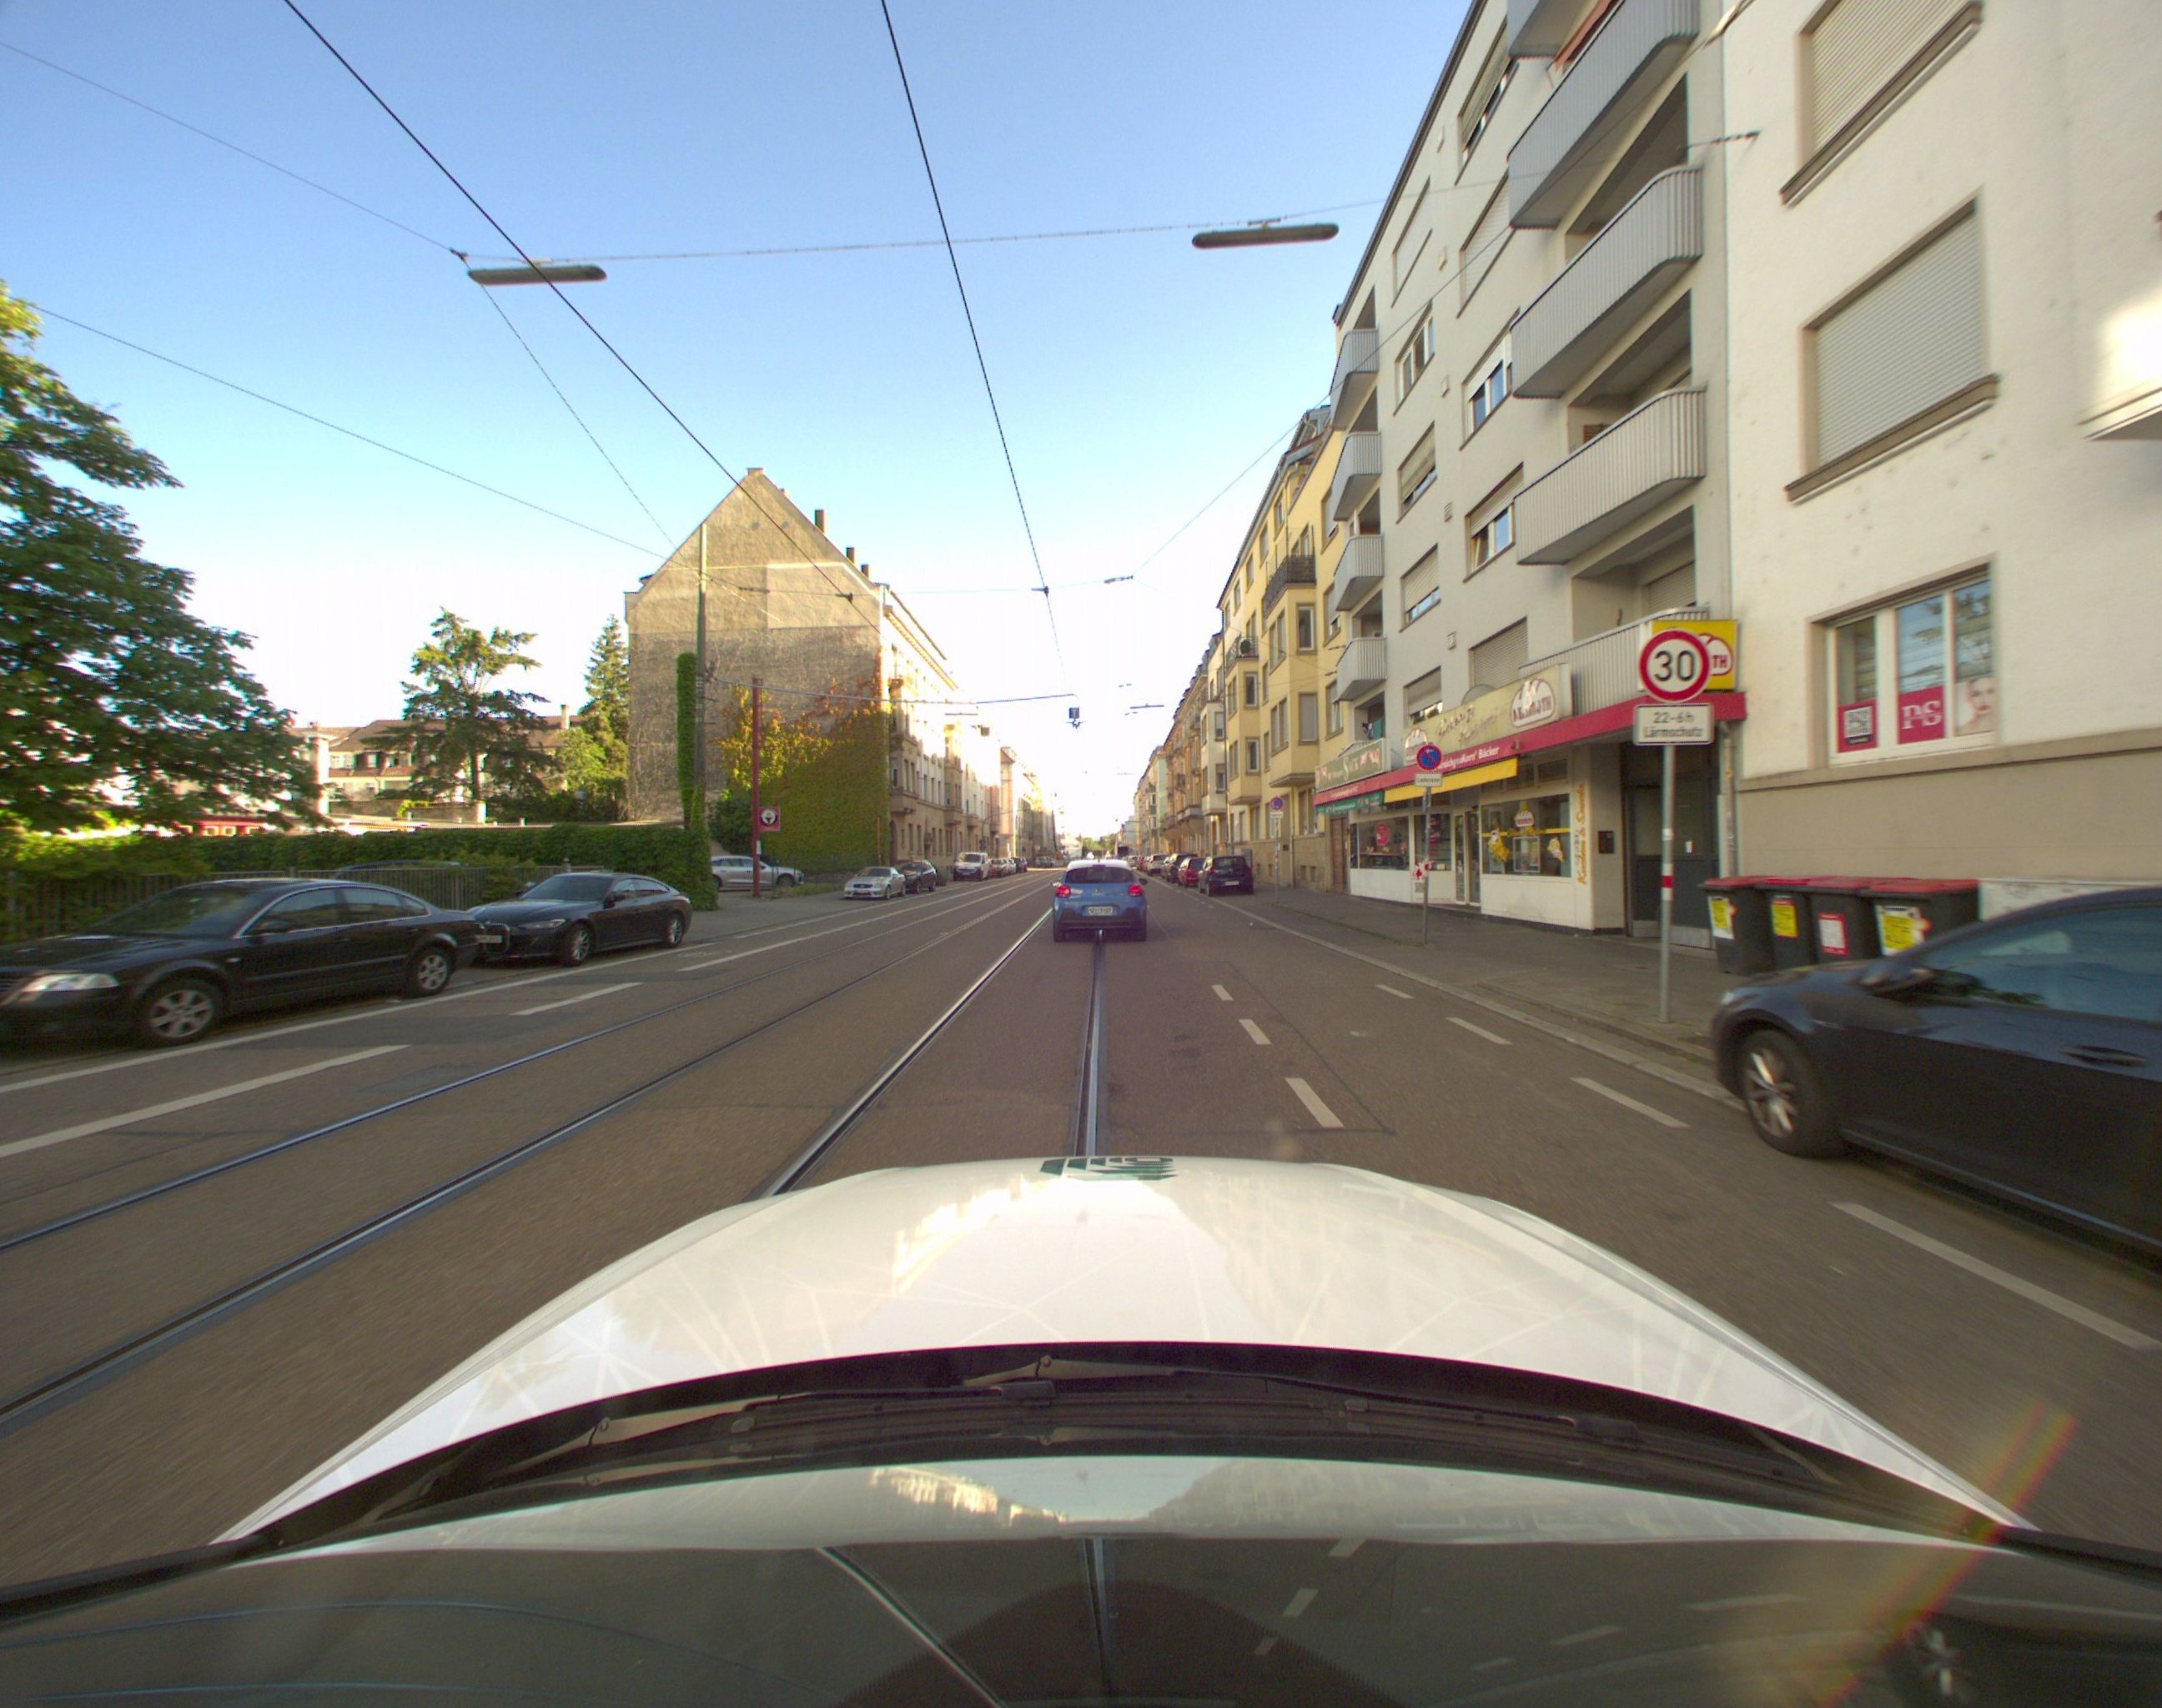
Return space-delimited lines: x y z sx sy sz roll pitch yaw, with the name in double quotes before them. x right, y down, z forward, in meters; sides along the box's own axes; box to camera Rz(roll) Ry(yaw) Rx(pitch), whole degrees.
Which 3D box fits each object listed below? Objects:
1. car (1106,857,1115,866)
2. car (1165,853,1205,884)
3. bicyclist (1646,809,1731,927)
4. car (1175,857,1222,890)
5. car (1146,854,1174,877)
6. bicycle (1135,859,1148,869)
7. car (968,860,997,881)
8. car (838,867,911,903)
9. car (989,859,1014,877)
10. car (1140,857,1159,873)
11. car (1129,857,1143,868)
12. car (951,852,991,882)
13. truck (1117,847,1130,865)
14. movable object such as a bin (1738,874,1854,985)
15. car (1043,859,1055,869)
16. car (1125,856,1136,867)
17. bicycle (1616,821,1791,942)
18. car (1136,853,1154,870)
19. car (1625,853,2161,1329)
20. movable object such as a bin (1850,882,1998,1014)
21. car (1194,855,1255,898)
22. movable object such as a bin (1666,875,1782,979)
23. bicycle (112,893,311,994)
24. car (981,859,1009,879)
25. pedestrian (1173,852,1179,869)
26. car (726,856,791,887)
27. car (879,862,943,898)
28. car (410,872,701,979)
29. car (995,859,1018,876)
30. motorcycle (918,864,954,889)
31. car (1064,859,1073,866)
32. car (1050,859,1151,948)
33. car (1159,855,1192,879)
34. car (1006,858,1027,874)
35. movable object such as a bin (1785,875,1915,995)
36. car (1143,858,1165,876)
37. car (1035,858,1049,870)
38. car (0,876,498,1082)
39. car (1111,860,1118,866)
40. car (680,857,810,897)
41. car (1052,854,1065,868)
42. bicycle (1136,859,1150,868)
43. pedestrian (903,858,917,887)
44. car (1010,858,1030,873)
"car" 6.328 1.662 174.071 1.814 1.894 4.002 0 0 2
"car" 5.817 0.788 45.962 1.851 1.665 4.565 -1 0 3
"bicyclist" 8.990 0.200 12.071 0.839 1.702 0.510 -1 -1 4
"car" 5.700 0.904 39.908 1.851 1.455 4.713 -1 0 3
"car" 6.088 0.883 62.909 1.836 1.691 4.507 -1 0 2
"bicycle" 8.567 1.403 114.709 1.716 1.154 0.469 -5 -1 1
"car" -7.540 1.245 62.528 1.597 1.473 3.647 1 0 2
"car" -8.413 1.221 33.533 1.776 1.314 4.222 1 0 2
"car" -7.025 1.247 72.395 1.766 1.547 4.364 1 0 0
"car" 7.065 1.154 84.210 1.746 1.594 3.732 -1 0 3
"car" 7.943 1.217 117.810 1.777 1.632 4.002 -2 -1 2
"car" -7.630 0.884 56.957 1.966 1.949 5.252 1 0 1
"truck" 9.903 0.521 188.751 2.841 4.083 11.279 -2 -1 3
"movable object such as a bin" 7.264 0.746 8.296 0.673 1.072 0.569 -1 -1 0
"car" -5.057 1.614 129.840 1.777 1.627 4.608 1 0 0
"car" 8.882 1.352 147.001 1.724 1.827 4.688 -2 -1 2
"bicycle" 9.124 0.397 12.009 1.921 1.710 0.776 -1 0 4
"car" 7.102 0.874 90.877 1.746 1.735 4.509 -4 -1 2
"car" 4.258 0.751 2.989 1.703 1.407 4.361 -4 -1 3
"movable object such as a bin" 7.290 0.791 7.069 0.673 1.072 0.569 -1 -1 0
"car" 5.466 0.812 31.466 1.712 1.491 4.003 -2 0 2
"movable object such as a bin" 6.981 0.776 8.873 0.767 1.072 0.618 -1 -1 0
"bicycle" -11.750 1.160 11.124 0.438 1.174 2.051 -1 -1 3
"car" -7.074 1.221 67.129 1.777 1.523 4.360 1 0 1
"pedestrian" 9.015 0.620 77.564 0.511 1.687 0.448 -1 -1 1
"car" -17.051 0.897 43.297 1.745 1.525 3.911 -1 0 2
"car" -8.029 1.178 38.856 1.775 1.565 4.615 1 0 4
"car" -8.766 1.093 14.247 1.776 1.446 4.844 1 0 2
"car" -7.043 1.263 77.199 1.777 1.622 4.178 1 0 0
"motorcycle" -8.094 1.237 45.517 0.875 1.351 1.970 -1 -1 34
"car" -3.128 1.998 199.579 1.819 1.632 4.851 -2 -1 2
"car" 0.402 0.863 16.018 1.728 1.507 3.994 1 0 2
"car" 6.036 0.841 52.460 1.731 1.442 4.033 -1 0 1
"car" -6.606 1.242 83.406 1.776 1.553 3.020 1 0 2
"movable object such as a bin" 7.256 0.749 7.711 0.673 1.072 0.569 -1 -1 0
"car" 6.601 1.161 74.002 1.648 1.483 4.474 -1 0 1
"car" -5.630 1.374 118.484 1.777 1.690 4.666 1 0 0
"car" -8.869 1.040 8.703 1.777 1.481 4.700 1 0 1
"car" 9.128 2.440 222.009 1.758 1.487 4.033 -2 -1 2
"car" -14.156 0.938 34.417 4.813 1.518 1.980 -1 0 -32
"car" -4.212 1.304 153.188 2.138 2.475 4.979 1 0 0
"bicycle" 8.437 1.279 110.719 1.836 1.154 0.469 -5 -1 1
"pedestrian" -10.312 1.097 49.125 0.677 1.724 0.616 -1 -1 2
"car" -6.569 1.206 87.558 1.777 1.606 4.396 1 0 0
